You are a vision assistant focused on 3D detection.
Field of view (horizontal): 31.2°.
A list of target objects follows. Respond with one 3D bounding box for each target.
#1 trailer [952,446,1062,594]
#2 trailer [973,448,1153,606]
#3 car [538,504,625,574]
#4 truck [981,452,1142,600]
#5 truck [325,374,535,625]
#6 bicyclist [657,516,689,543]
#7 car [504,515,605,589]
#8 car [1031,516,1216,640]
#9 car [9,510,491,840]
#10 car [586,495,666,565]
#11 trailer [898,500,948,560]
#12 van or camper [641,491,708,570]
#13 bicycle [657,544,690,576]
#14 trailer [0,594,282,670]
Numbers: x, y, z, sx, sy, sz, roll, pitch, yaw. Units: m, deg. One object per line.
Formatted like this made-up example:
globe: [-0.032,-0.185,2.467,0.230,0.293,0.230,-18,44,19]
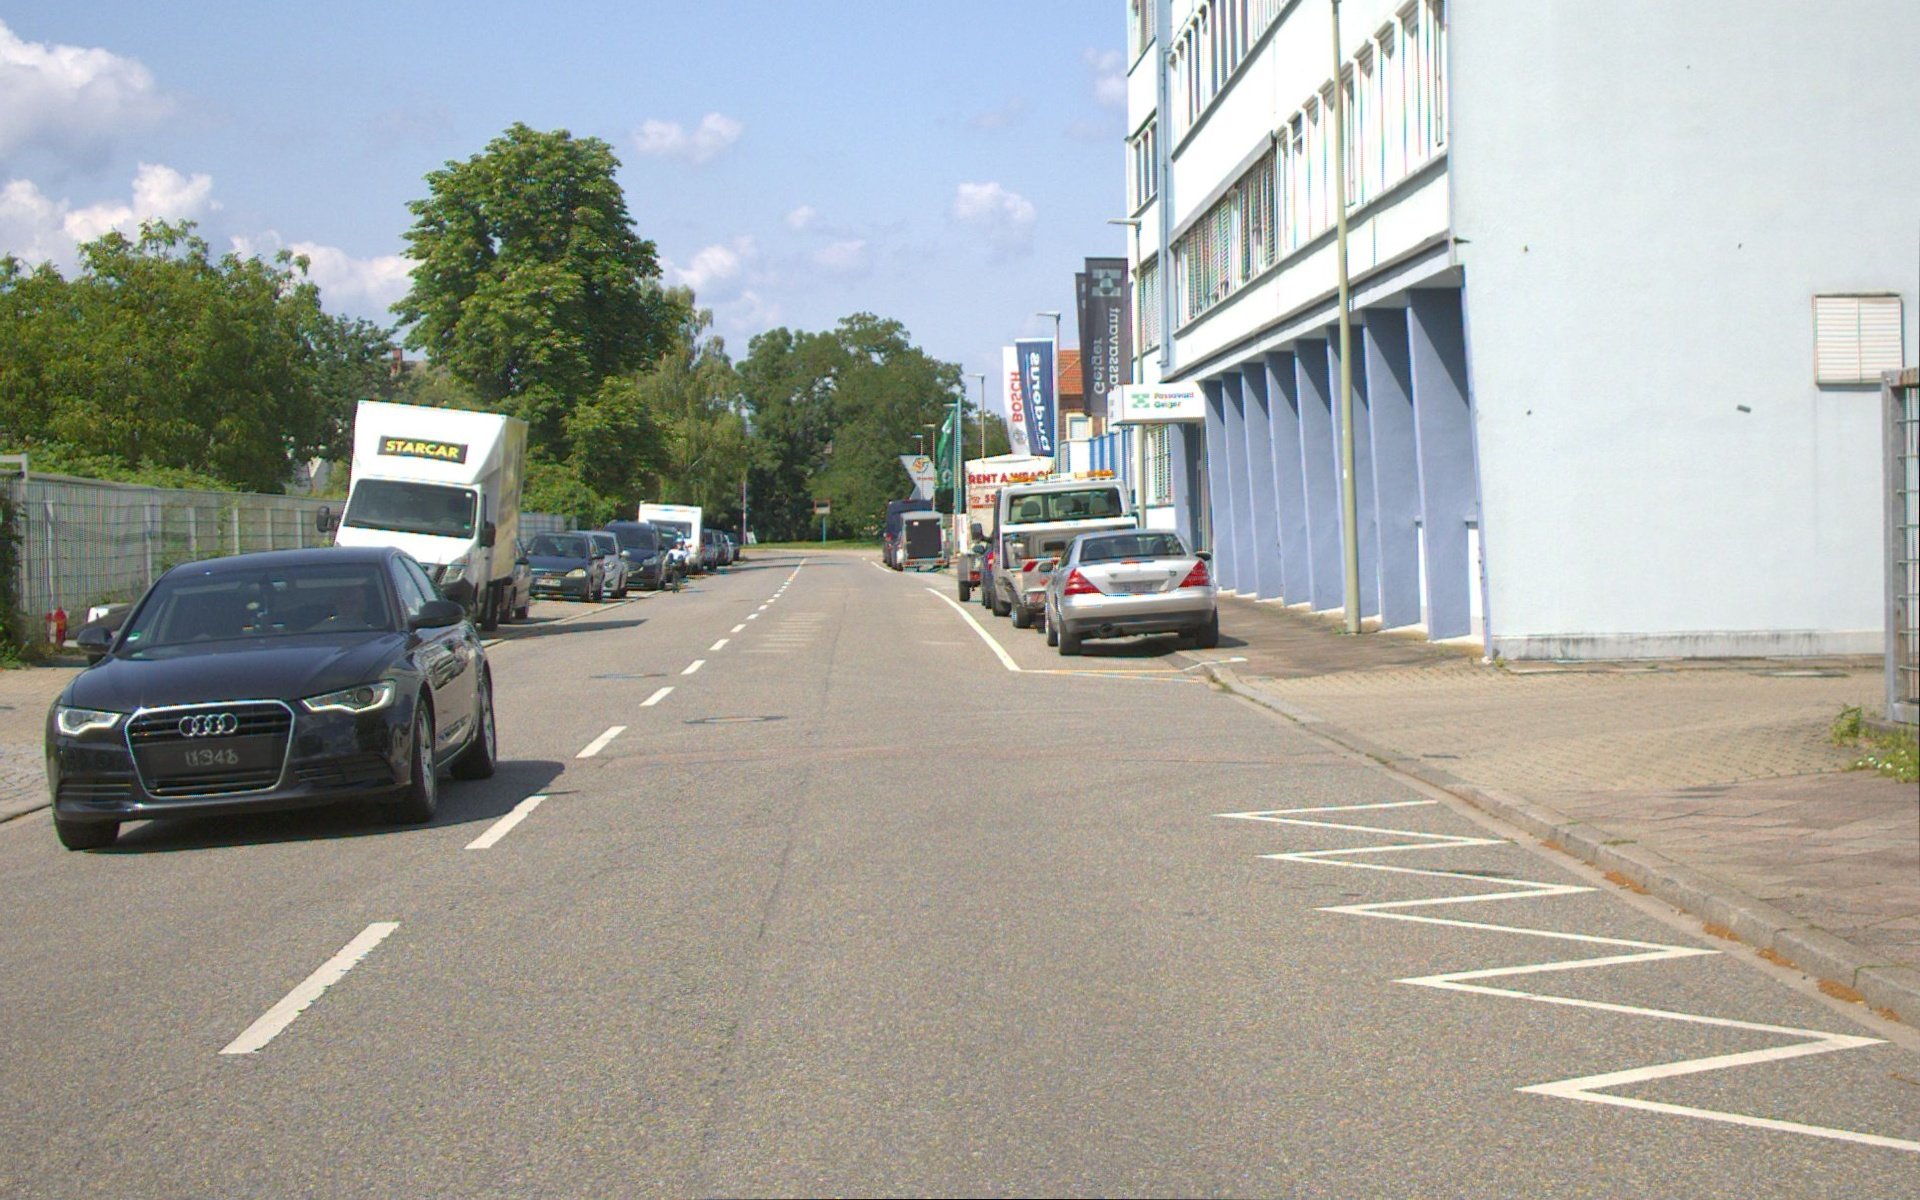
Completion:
trailer: [0.851,-1.456,62.368,1.869,2.544,5.072,-1,1,1]
trailer: [1.310,-0.988,46.383,1.973,1.964,5.767,-1,1,-2]
car: [-8.405,-1.371,76.575,1.615,1.478,3.710,1,1,-2]
truck: [1.415,-1.075,49.793,1.964,2.028,4.735,-1,1,-2]
truck: [-7.560,-1.450,49.778,2.250,3.350,6.908,-1,1,-3]
bicyclist: [-6.850,-1.689,82.090,0.566,0.629,1.857,0,2,1]
car: [-8.412,-1.022,71.538,1.568,1.394,3.799,4,1,0]
car: [1.740,-0.276,37.665,1.647,1.242,4.001,-1,2,-2]
car: [-3.656,0.300,18.457,1.785,1.433,4.310,-4,2,-3]
car: [-8.707,-1.834,89.898,1.801,1.743,4.714,-1,1,-3]
trailer: [-1.275,-2.394,117.862,1.601,2.030,2.741,0,1,-3]
van or camper: [-10.639,-2.591,128.548,2.262,2.794,6.835,3,1,-4]
bicycle: [-6.833,-0.955,82.109,0.587,0.739,2.125,-1,1,0]
trailer: [-8.233,0.294,34.359,2.235,0.550,4.445,1,1,-3]
